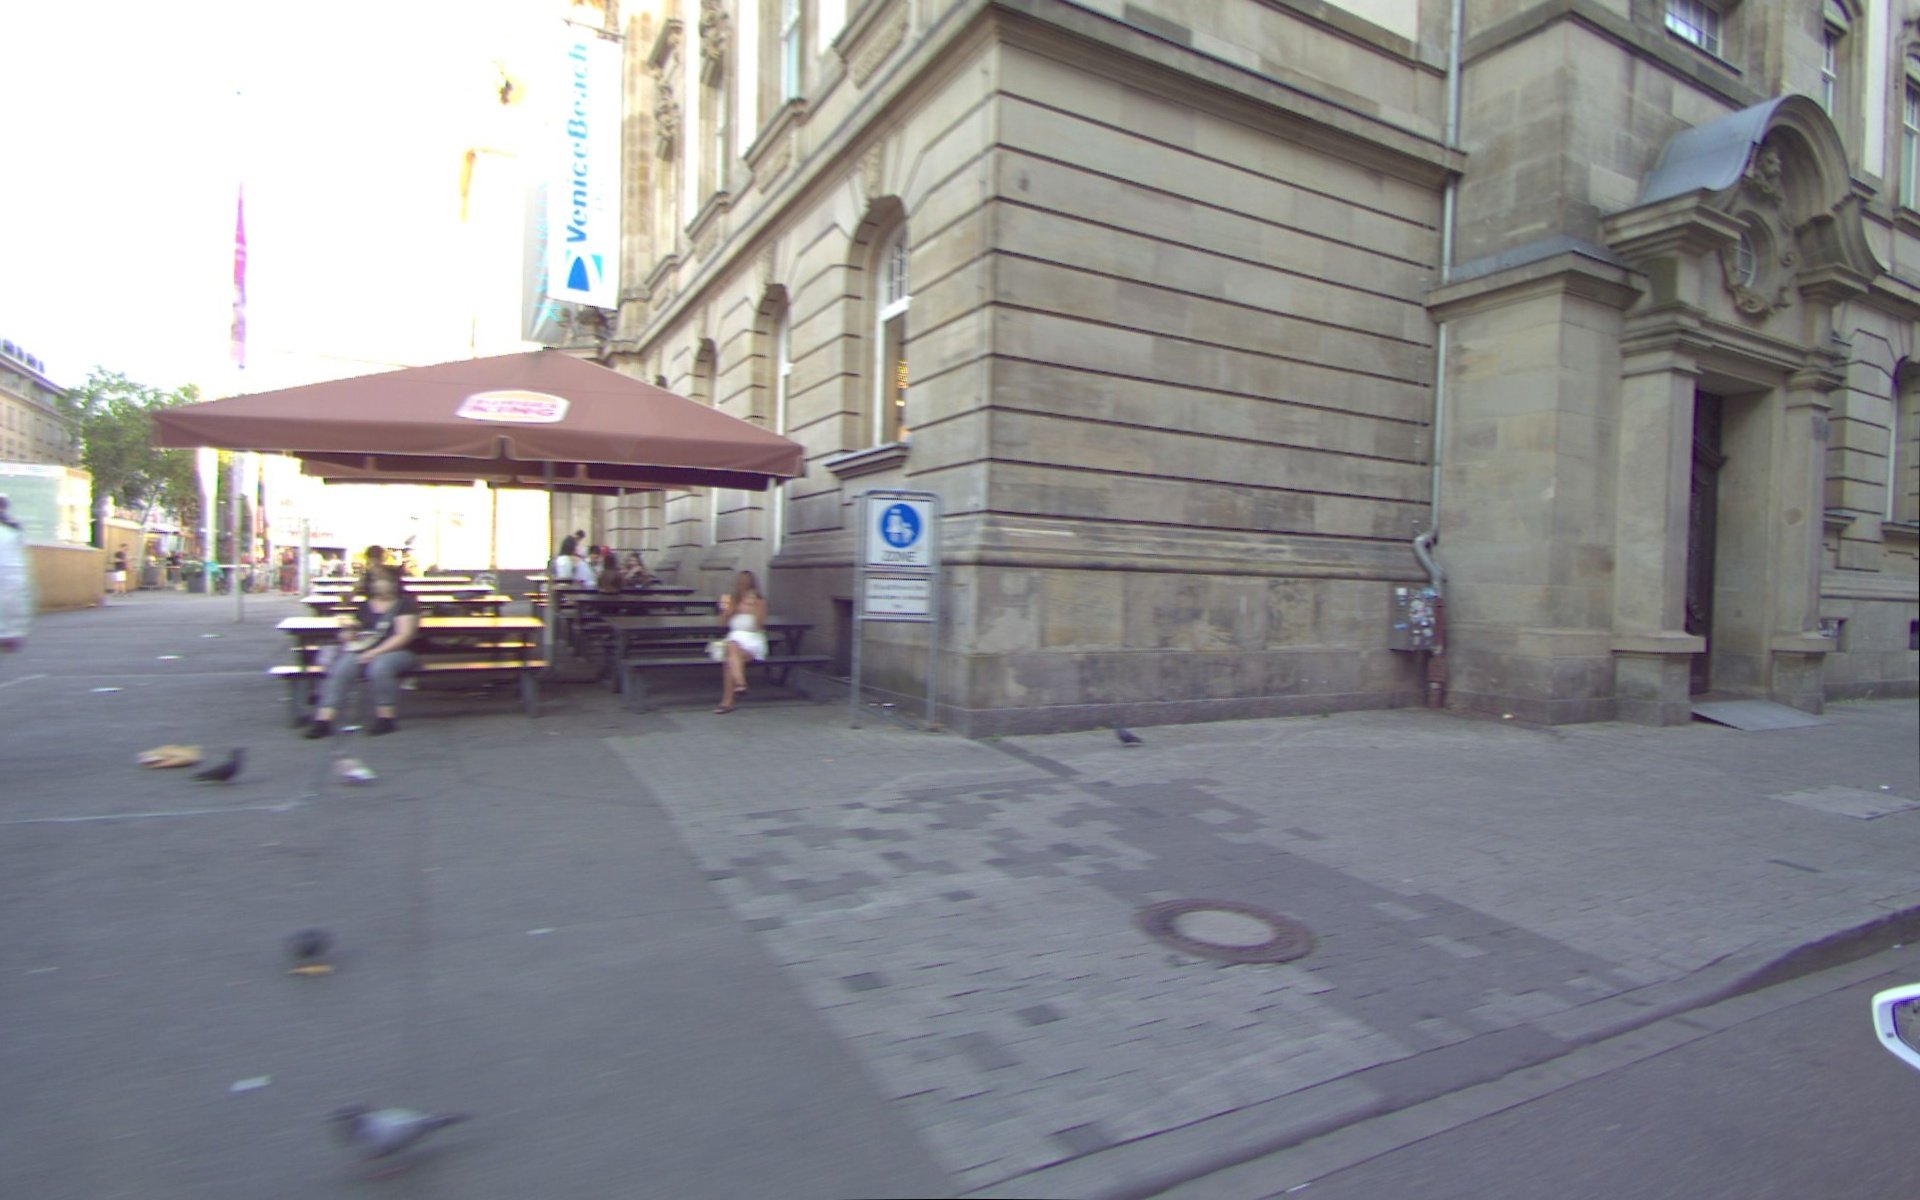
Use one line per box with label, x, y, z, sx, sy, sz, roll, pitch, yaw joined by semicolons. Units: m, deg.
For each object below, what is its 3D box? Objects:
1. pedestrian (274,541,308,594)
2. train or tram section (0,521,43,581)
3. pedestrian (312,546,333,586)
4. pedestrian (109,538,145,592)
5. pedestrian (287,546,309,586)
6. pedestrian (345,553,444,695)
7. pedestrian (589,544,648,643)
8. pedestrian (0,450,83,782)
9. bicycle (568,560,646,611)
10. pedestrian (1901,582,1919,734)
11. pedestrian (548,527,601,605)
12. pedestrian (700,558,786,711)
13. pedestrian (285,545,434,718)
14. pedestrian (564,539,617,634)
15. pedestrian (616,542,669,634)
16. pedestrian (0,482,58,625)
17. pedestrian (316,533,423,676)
pedestrian;-22.417;-1.078;33.671;0.642;1.728;0.726;3;2;26
train or tram section;-55.117;-2.764;55.841;2.775;3.364;14.394;1;1;-29
pedestrian;-30.385;-1.624;47.861;0.801;1.848;0.799;1;2;-30
pedestrian;-28.985;-1.215;34.976;0.801;1.848;0.800;1;2;-27
pedestrian;-31.211;-1.620;47.369;0.801;1.848;0.800;1;2;-27
pedestrian;-5.238;0.204;9.340;0.607;1.243;0.698;3;3;-15
pedestrian;-4.724;-0.092;13.877;0.602;1.326;0.603;2;3;-32
pedestrian;-5.771;0.063;5.871;0.858;1.864;0.865;0;4;-34
bicycle;-6.563;-0.268;18.668;1.308;0.906;0.406;0;2;-34
pedestrian;11.329;0.687;11.257;0.964;1.698;0.793;1;4;-32
pedestrian;-8.050;-0.707;20.945;0.841;1.587;0.842;1;3;-34
pedestrian;-2.002;0.297;9.339;0.652;1.327;0.772;1;4;-4
pedestrian;-4.673;0.226;7.872;0.768;1.259;0.825;3;3;-15
pedestrian;-5.384;-0.196;14.632;0.587;1.326;0.577;2;3;-32
pedestrian;-4.727;-0.182;14.931;0.587;1.326;0.577;2;3;-31
pedestrian;-12.573;-0.614;13.242;0.800;1.848;0.801;1;2;-25
pedestrian;-6.073;0.040;10.365;0.793;1.401;0.650;2;3;-19
